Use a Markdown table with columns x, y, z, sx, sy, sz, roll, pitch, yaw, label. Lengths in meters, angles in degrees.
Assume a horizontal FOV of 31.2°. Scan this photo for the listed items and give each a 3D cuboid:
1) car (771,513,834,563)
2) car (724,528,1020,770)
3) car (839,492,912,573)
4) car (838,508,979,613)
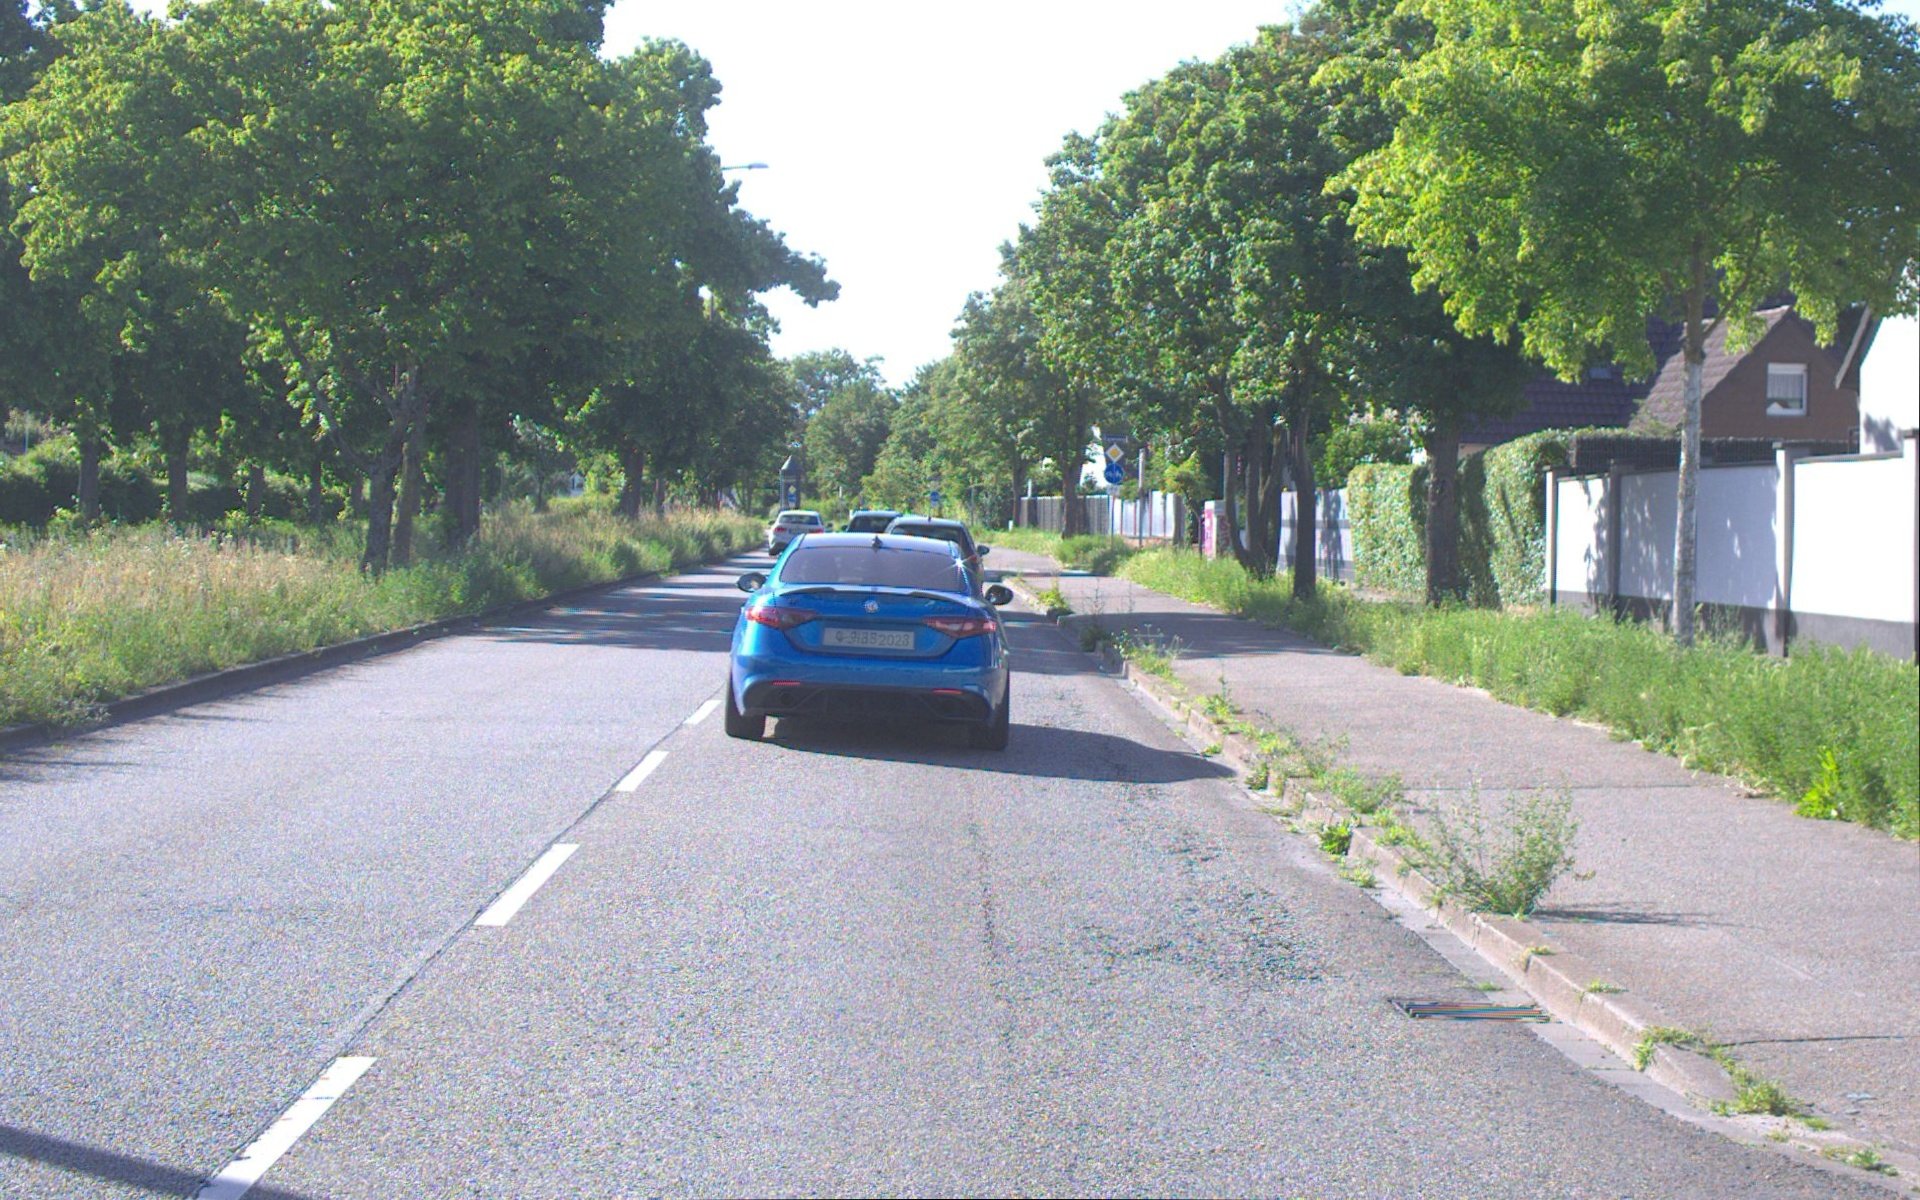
| x | y | z | sx | sy | sz | roll | pitch | yaw | label |
| --- | --- | --- | --- | --- | --- | --- | --- | --- | --- |
| -4.968 | -1.963 | 108.239 | 1.915 | 1.507 | 4.068 | 1 | 1 | -3 | car |
| -0.551 | 0.269 | 24.224 | 1.838 | 1.469 | 4.184 | 3 | 1 | 0 | car |
| -2.213 | -1.785 | 90.375 | 1.793 | 2.007 | 4.000 | 2 | 1 | -1 | car |
| -0.862 | -0.655 | 54.392 | 1.915 | 1.574 | 4.183 | 1 | 1 | -5 | car |
